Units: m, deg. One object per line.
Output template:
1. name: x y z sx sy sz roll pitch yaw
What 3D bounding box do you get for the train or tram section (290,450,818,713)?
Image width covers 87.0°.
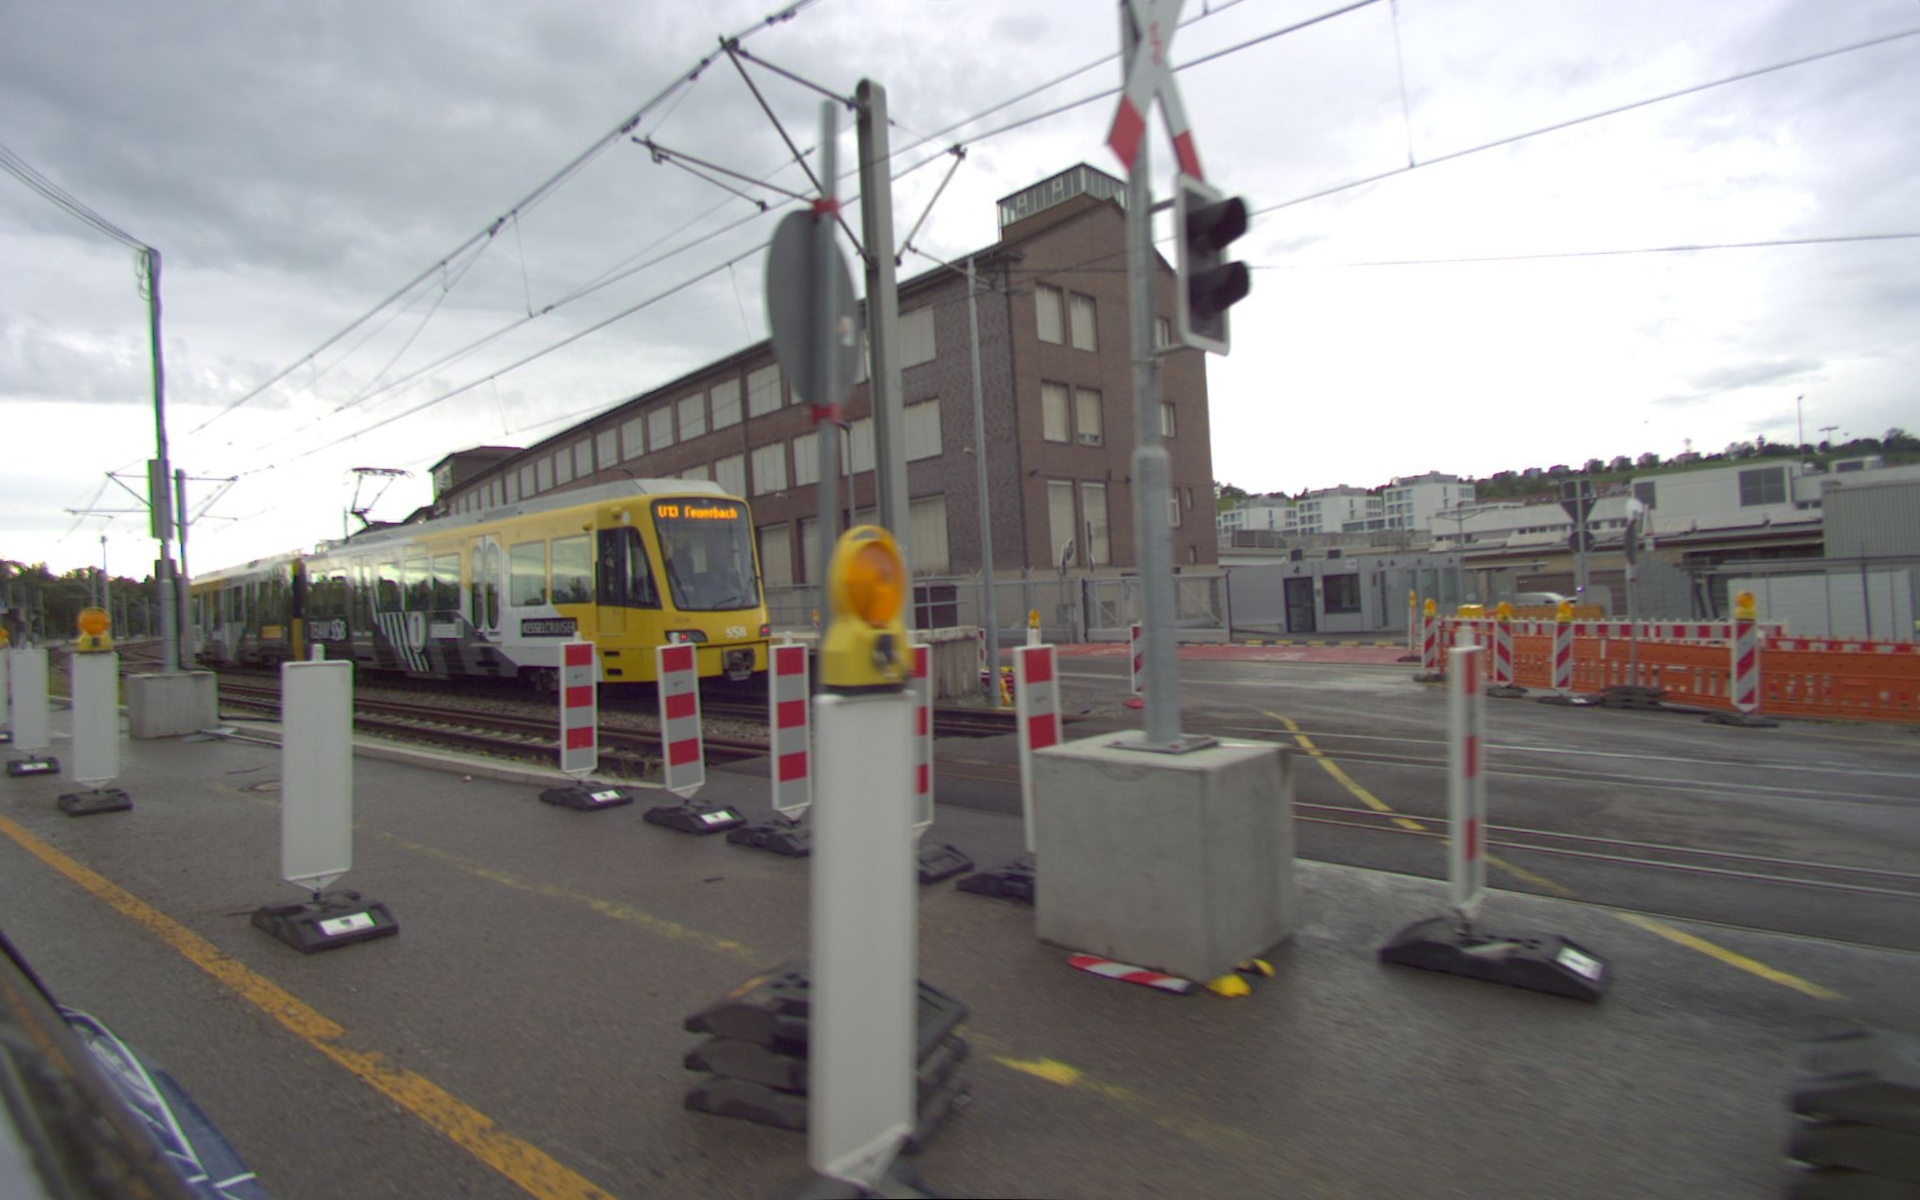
1. train or tram section: -10.543 -0.014 22.709 19.289 3.915 2.923 -3 1 43

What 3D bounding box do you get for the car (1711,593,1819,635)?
1. car: 41.203 0.721 51.852 1.969 2.029 4.006 -1 -1 -41

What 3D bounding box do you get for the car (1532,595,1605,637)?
1. car: 43.168 1.148 71.807 1.970 2.926 4.003 -1 -1 -43

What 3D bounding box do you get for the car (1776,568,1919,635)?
1. car: 28.834 0.048 32.348 3.986 2.029 1.979 -1 0 31

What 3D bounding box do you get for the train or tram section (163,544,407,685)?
1. train or tram section: -24.713 0.670 36.029 19.576 3.915 2.923 -3 1 44
